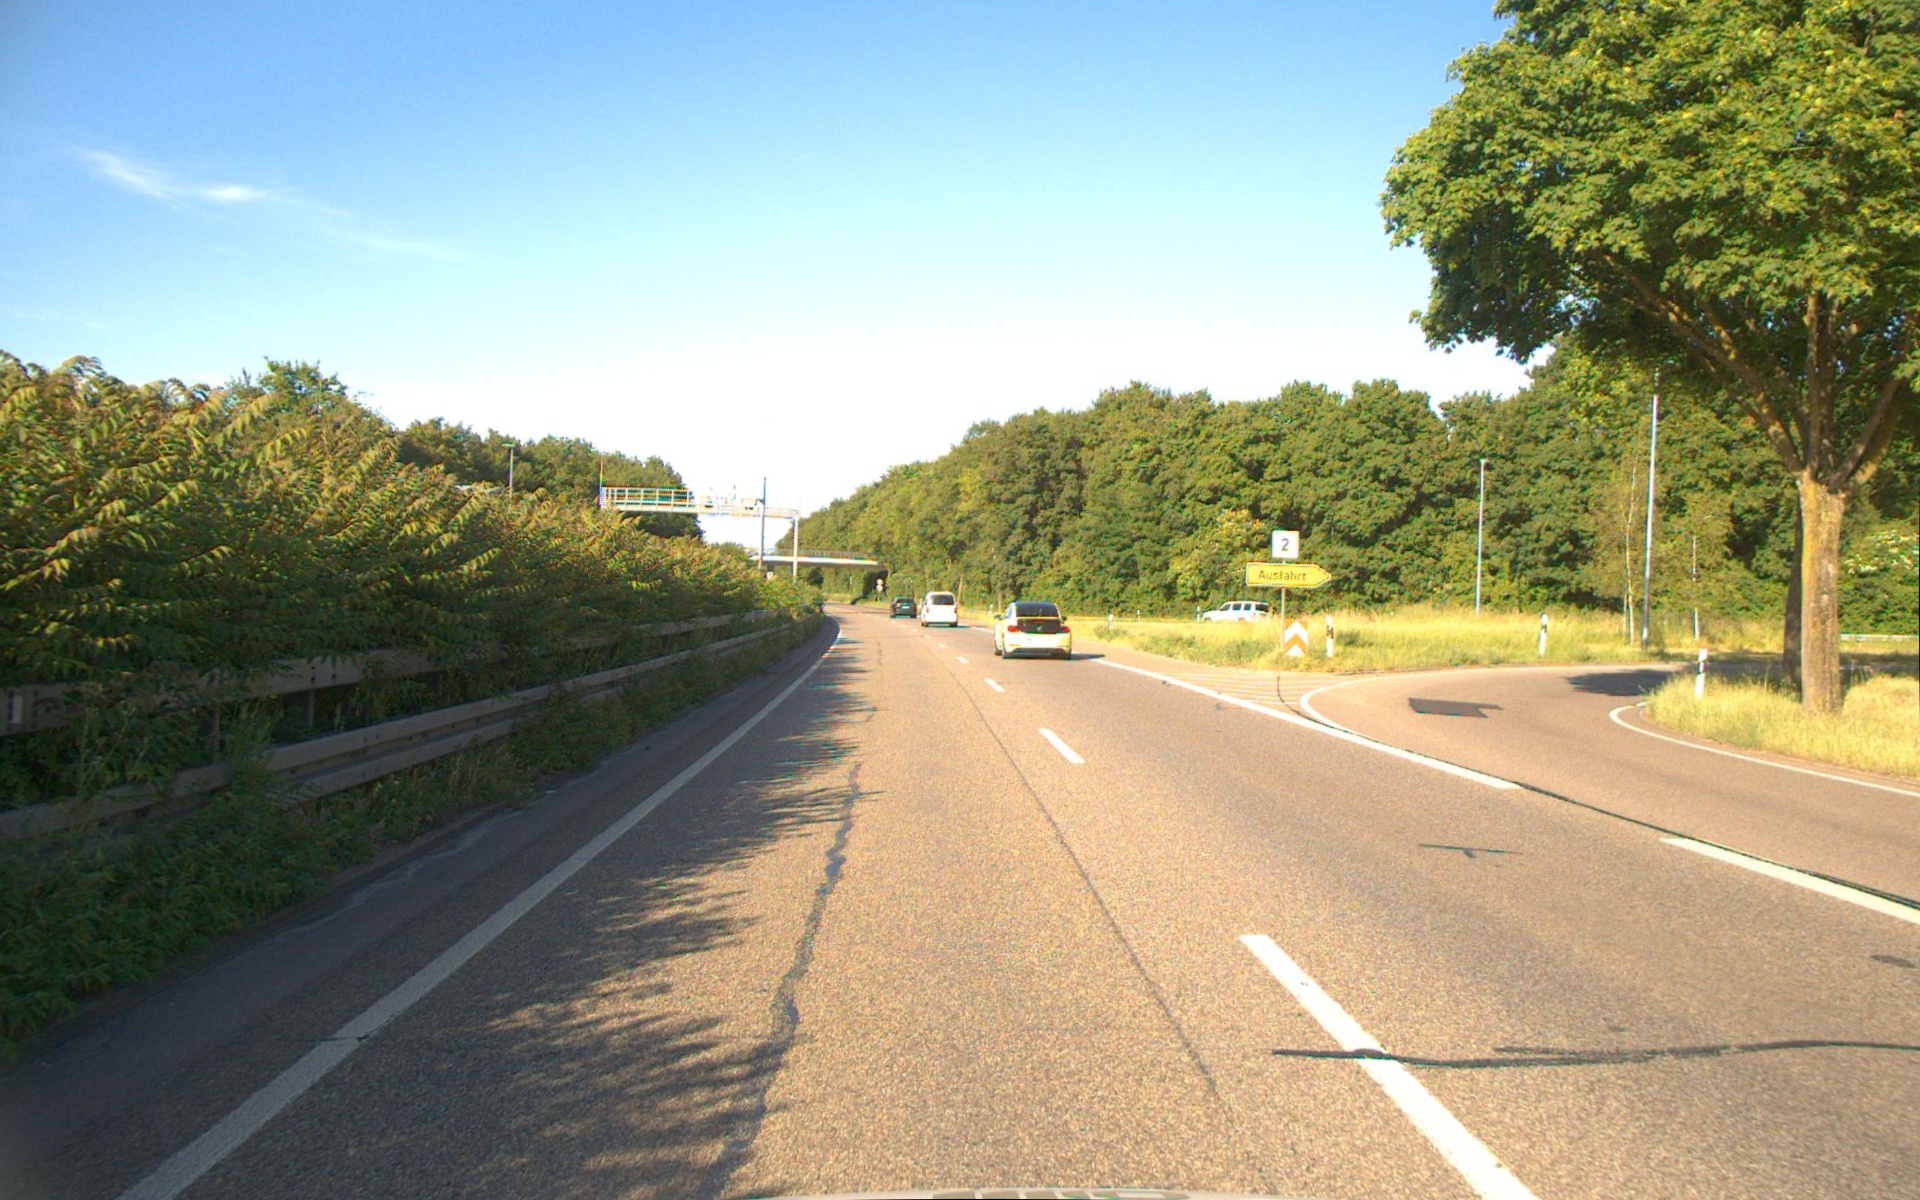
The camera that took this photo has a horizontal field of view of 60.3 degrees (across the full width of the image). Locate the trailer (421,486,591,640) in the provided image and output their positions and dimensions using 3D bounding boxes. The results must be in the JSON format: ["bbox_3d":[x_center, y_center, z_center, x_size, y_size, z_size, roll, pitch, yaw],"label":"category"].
[{"bbox_3d":[-13.734,-1.064,51.011,2.595,4.195,10.695,1,0,-2],"label":"trailer"}]

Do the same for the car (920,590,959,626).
[{"bbox_3d":[-1.099,0.410,86.691,1.860,1.798,3.997,0,0,-4],"label":"car"}]

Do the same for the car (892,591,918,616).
[{"bbox_3d":[-3.980,0.227,120.179,1.859,1.798,3.998,0,0,-2],"label":"car"}]

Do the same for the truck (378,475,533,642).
[{"bbox_3d":[-13.500,-1.077,44.710,2.595,4.195,5.559,1,0,-2],"label":"truck"}]

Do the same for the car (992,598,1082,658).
[{"bbox_3d":[1.978,0.706,43.503,1.860,1.496,3.996,0,0,-5],"label":"car"}]

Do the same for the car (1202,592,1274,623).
[{"bbox_3d":[16.540,0.429,98.354,1.887,1.856,3.938,0,0,-42],"label":"car"}]
